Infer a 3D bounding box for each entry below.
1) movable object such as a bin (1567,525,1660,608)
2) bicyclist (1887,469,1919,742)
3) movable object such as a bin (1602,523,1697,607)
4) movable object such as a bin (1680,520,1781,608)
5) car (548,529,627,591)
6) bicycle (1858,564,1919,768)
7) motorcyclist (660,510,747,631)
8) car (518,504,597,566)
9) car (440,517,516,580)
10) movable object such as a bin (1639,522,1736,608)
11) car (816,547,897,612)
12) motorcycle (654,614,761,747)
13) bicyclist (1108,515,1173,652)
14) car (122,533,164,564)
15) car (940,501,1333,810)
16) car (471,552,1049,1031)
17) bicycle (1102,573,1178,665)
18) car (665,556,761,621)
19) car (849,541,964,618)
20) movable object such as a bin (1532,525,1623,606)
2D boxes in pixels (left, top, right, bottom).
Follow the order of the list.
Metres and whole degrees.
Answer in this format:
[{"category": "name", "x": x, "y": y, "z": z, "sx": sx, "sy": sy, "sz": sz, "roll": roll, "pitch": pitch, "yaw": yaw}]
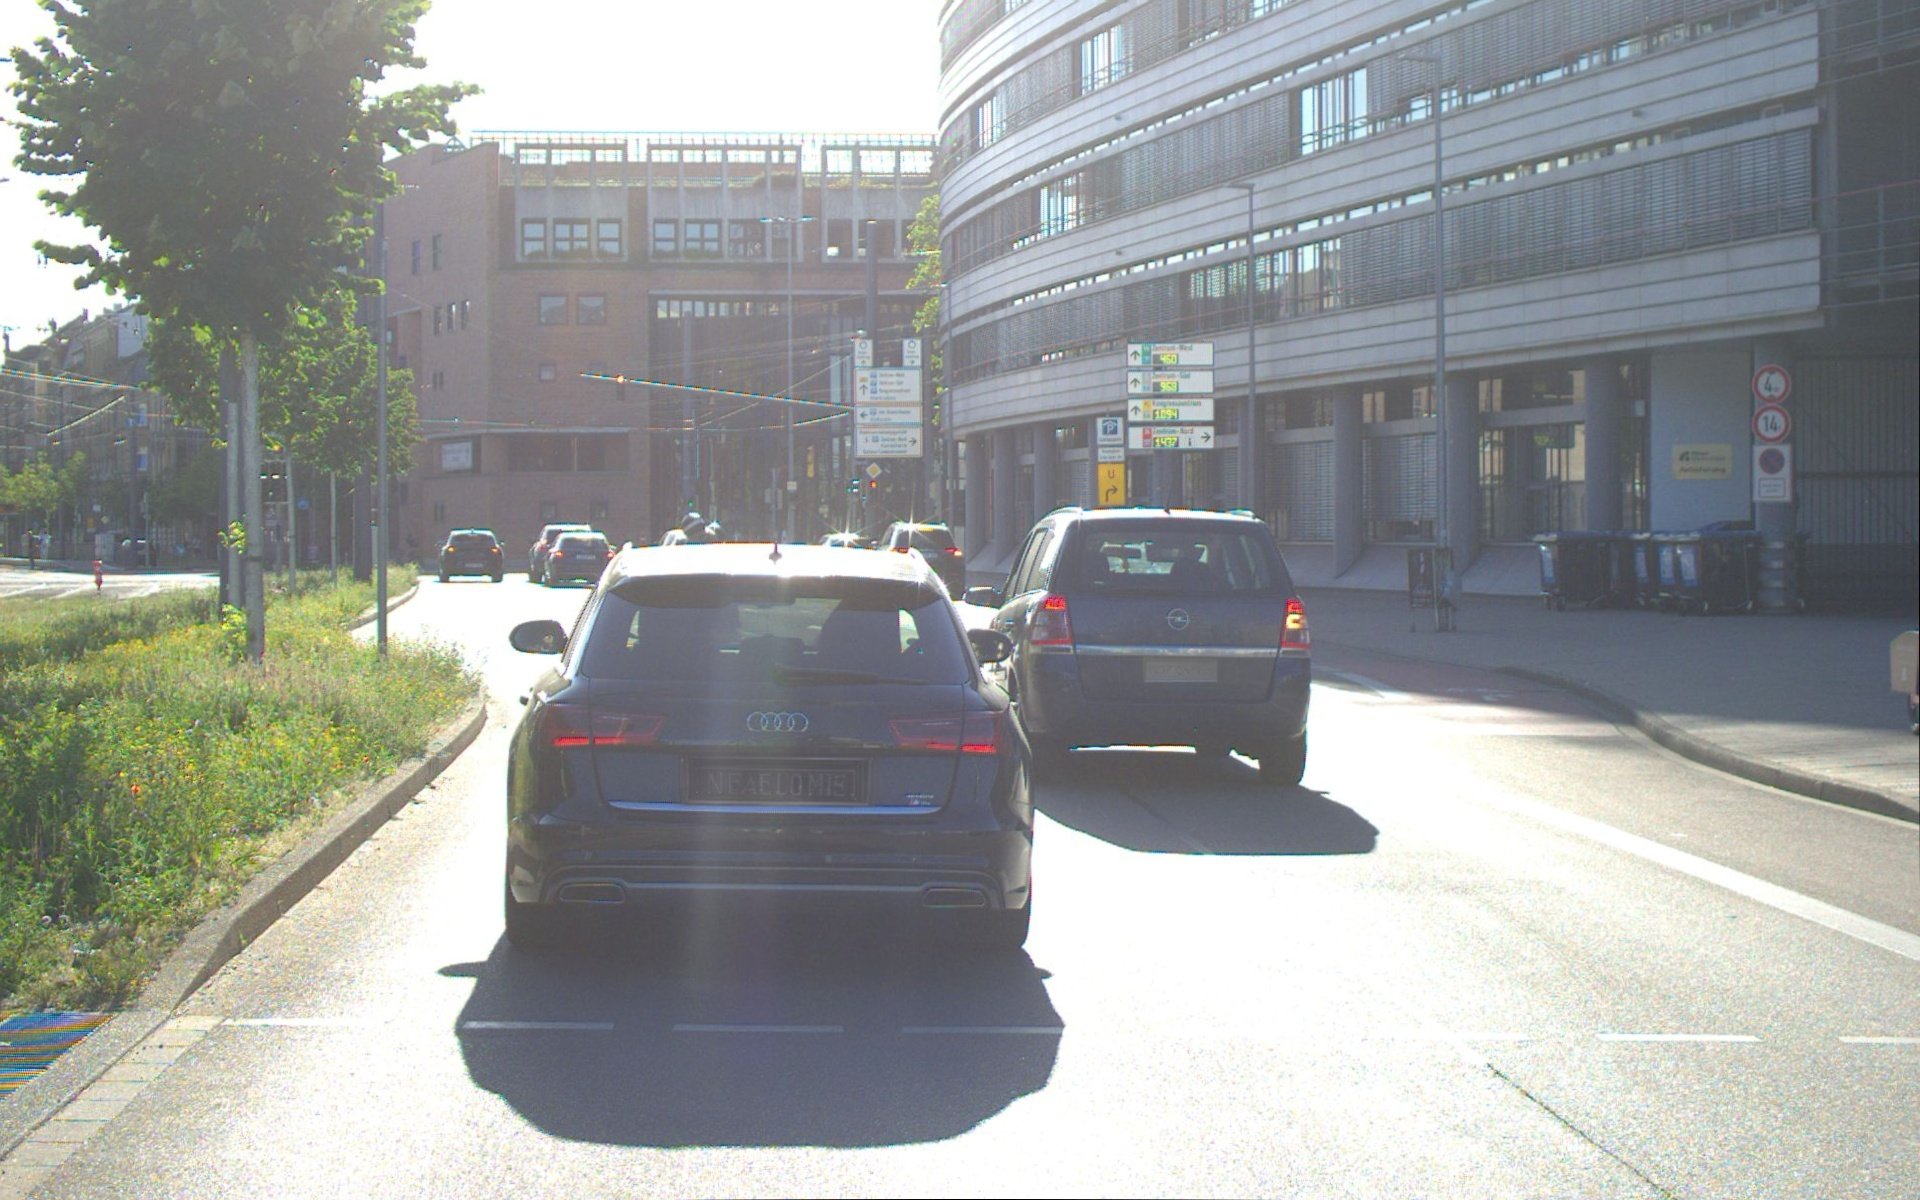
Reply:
[{"category": "movable object such as a bin", "x": 10.727, "y": -0.548, "z": 56.434, "sx": 1.059, "sy": 1.327, "sz": 1.125, "roll": -1, "pitch": 0, "yaw": -19}, {"category": "bicyclist", "x": 6.391, "y": 0.026, "z": 21.858, "sx": 0.766, "sy": 1.700, "sz": 0.930, "roll": 0, "pitch": 1, "yaw": 2}, {"category": "movable object such as a bin", "x": 11.103, "y": -0.557, "z": 55.365, "sx": 1.059, "sy": 1.327, "sz": 1.125, "roll": -1, "pitch": 0, "yaw": -19}, {"category": "movable object such as a bin", "x": 11.890, "y": -0.553, "z": 53.080, "sx": 1.059, "sy": 1.327, "sz": 1.125, "roll": -1, "pitch": 0, "yaw": -19}, {"category": "car", "x": -9.916, "y": -1.053, "z": 91.295, "sx": 1.993, "sy": 1.590, "sz": 4.001, "roll": -1, "pitch": 0, "yaw": -7}, {"category": "bicycle", "x": 6.404, "y": 0.407, "z": 22.131, "sx": 0.766, "sy": 1.258, "sz": 2.082, "roll": 0, "pitch": 1, "yaw": 2}, {"category": "motorcyclist", "x": -2.843, "y": -0.328, "z": 38.051, "sx": 0.862, "sy": 1.322, "sz": 0.681, "roll": 0, "pitch": 1, "yaw": -14}, {"category": "car", "x": -11.477, "y": -1.837, "z": 97.911, "sx": 1.993, "sy": 1.700, "sz": 4.001, "roll": -1, "pitch": 0, "yaw": -10}, {"category": "car", "x": -13.669, "y": -1.450, "z": 97.340, "sx": 1.993, "sy": 1.700, "sz": 4.001, "roll": -1, "pitch": 0, "yaw": -10}, {"category": "movable object such as a bin", "x": 11.482, "y": -0.550, "z": 54.285, "sx": 1.059, "sy": 1.327, "sz": 1.125, "roll": -1, "pitch": 0, "yaw": -19}, {"category": "car", "x": -3.046, "y": -0.594, "z": 100.340, "sx": 1.993, "sy": 1.831, "sz": 4.001, "roll": -1, "pitch": 0, "yaw": -7}, {"category": "motorcycle", "x": -2.801, "y": 0.868, "z": 37.959, "sx": 0.862, "sy": 1.388, "sz": 1.894, "roll": 0, "pitch": 1, "yaw": -14}, {"category": "bicyclist", "x": 2.189, "y": -0.209, "z": 41.553, "sx": 0.654, "sy": 1.637, "sz": 0.971, "roll": 0, "pitch": 1, "yaw": 11}, {"category": "car", "x": -46.246, "y": -2.905, "z": 194.483, "sx": 1.993, "sy": 1.700, "sz": 4.001, "roll": -1, "pitch": 0, "yaw": -18}, {"category": "car", "x": 0.991, "y": 0.271, "z": 21.601, "sx": 1.745, "sy": 1.690, "sz": 4.262, "roll": 2, "pitch": 1, "yaw": -6}, {"category": "car", "x": -0.742, "y": 0.599, "z": 13.168, "sx": 1.842, "sy": 1.449, "sz": 4.001, "roll": 1, "pitch": 2, "yaw": -3}, {"category": "bicycle", "x": 2.188, "y": 0.218, "z": 41.561, "sx": 0.654, "sy": 1.039, "sz": 1.929, "roll": 0, "pitch": 2, "yaw": 11}, {"category": "car", "x": -6.369, "y": -0.294, "z": 88.329, "sx": 1.993, "sy": 1.590, "sz": 4.001, "roll": -1, "pitch": 0, "yaw": -10}, {"category": "car", "x": -1.336, "y": -0.524, "z": 83.617, "sx": 2.002, "sy": 1.709, "sz": 4.374, "roll": 1, "pitch": 2, "yaw": -11}, {"category": "movable object such as a bin", "x": 10.321, "y": -0.566, "z": 57.488, "sx": 1.059, "sy": 1.327, "sz": 1.125, "roll": -1, "pitch": 0, "yaw": -19}]
